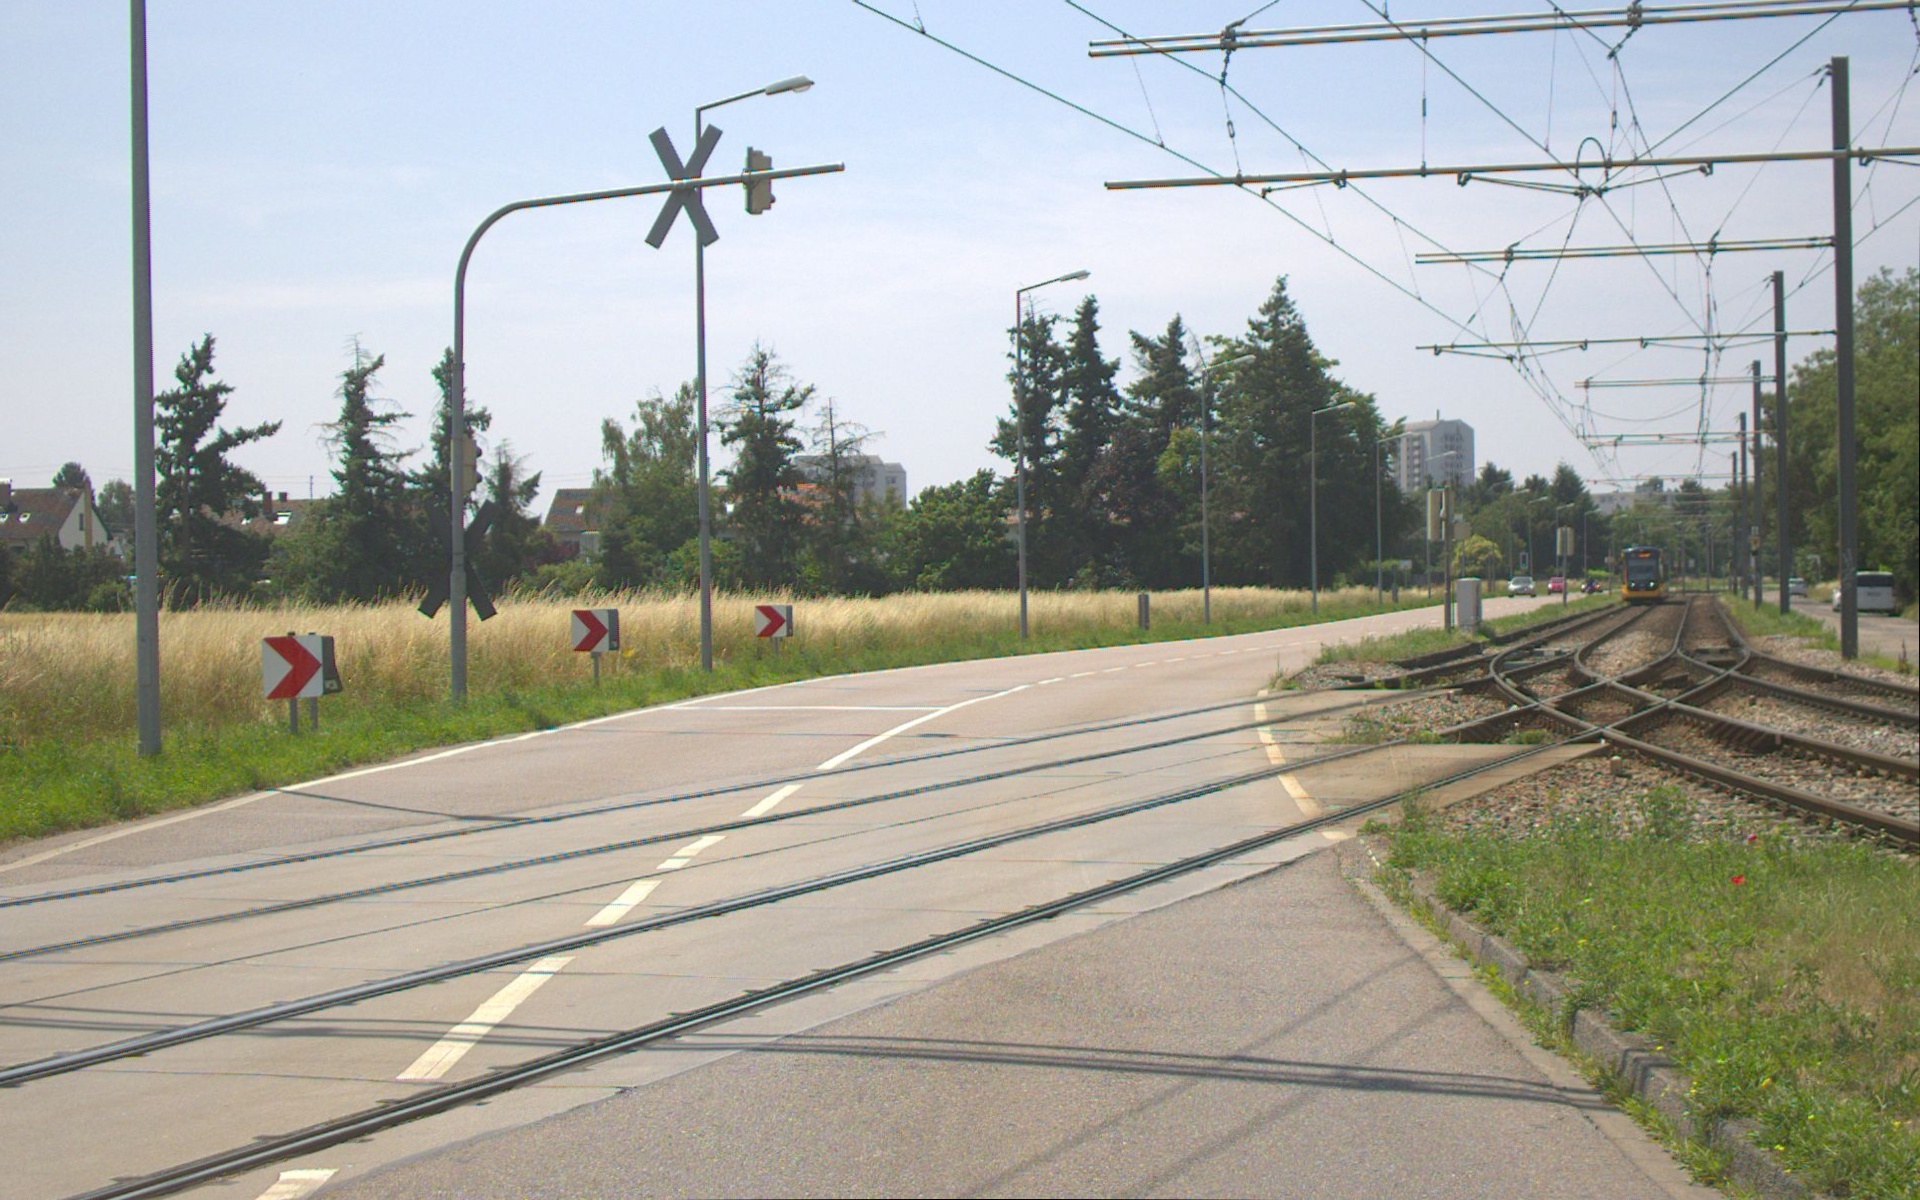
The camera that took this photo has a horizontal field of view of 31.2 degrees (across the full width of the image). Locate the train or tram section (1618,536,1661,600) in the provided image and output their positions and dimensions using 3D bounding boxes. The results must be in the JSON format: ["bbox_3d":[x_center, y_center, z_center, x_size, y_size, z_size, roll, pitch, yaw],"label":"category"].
[{"bbox_3d":[42.516,-1.969,214.896,2.430,3.753,11.552,-1,-1,12],"label":"train or tram section"}]

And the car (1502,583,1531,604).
[{"bbox_3d":[40.139,-0.474,247.709,1.835,1.462,4.675,0,-1,12],"label":"car"}]

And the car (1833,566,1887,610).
[{"bbox_3d":[38.707,-0.505,147.989,1.994,1.796,4.791,-1,-1,12],"label":"car"}]
